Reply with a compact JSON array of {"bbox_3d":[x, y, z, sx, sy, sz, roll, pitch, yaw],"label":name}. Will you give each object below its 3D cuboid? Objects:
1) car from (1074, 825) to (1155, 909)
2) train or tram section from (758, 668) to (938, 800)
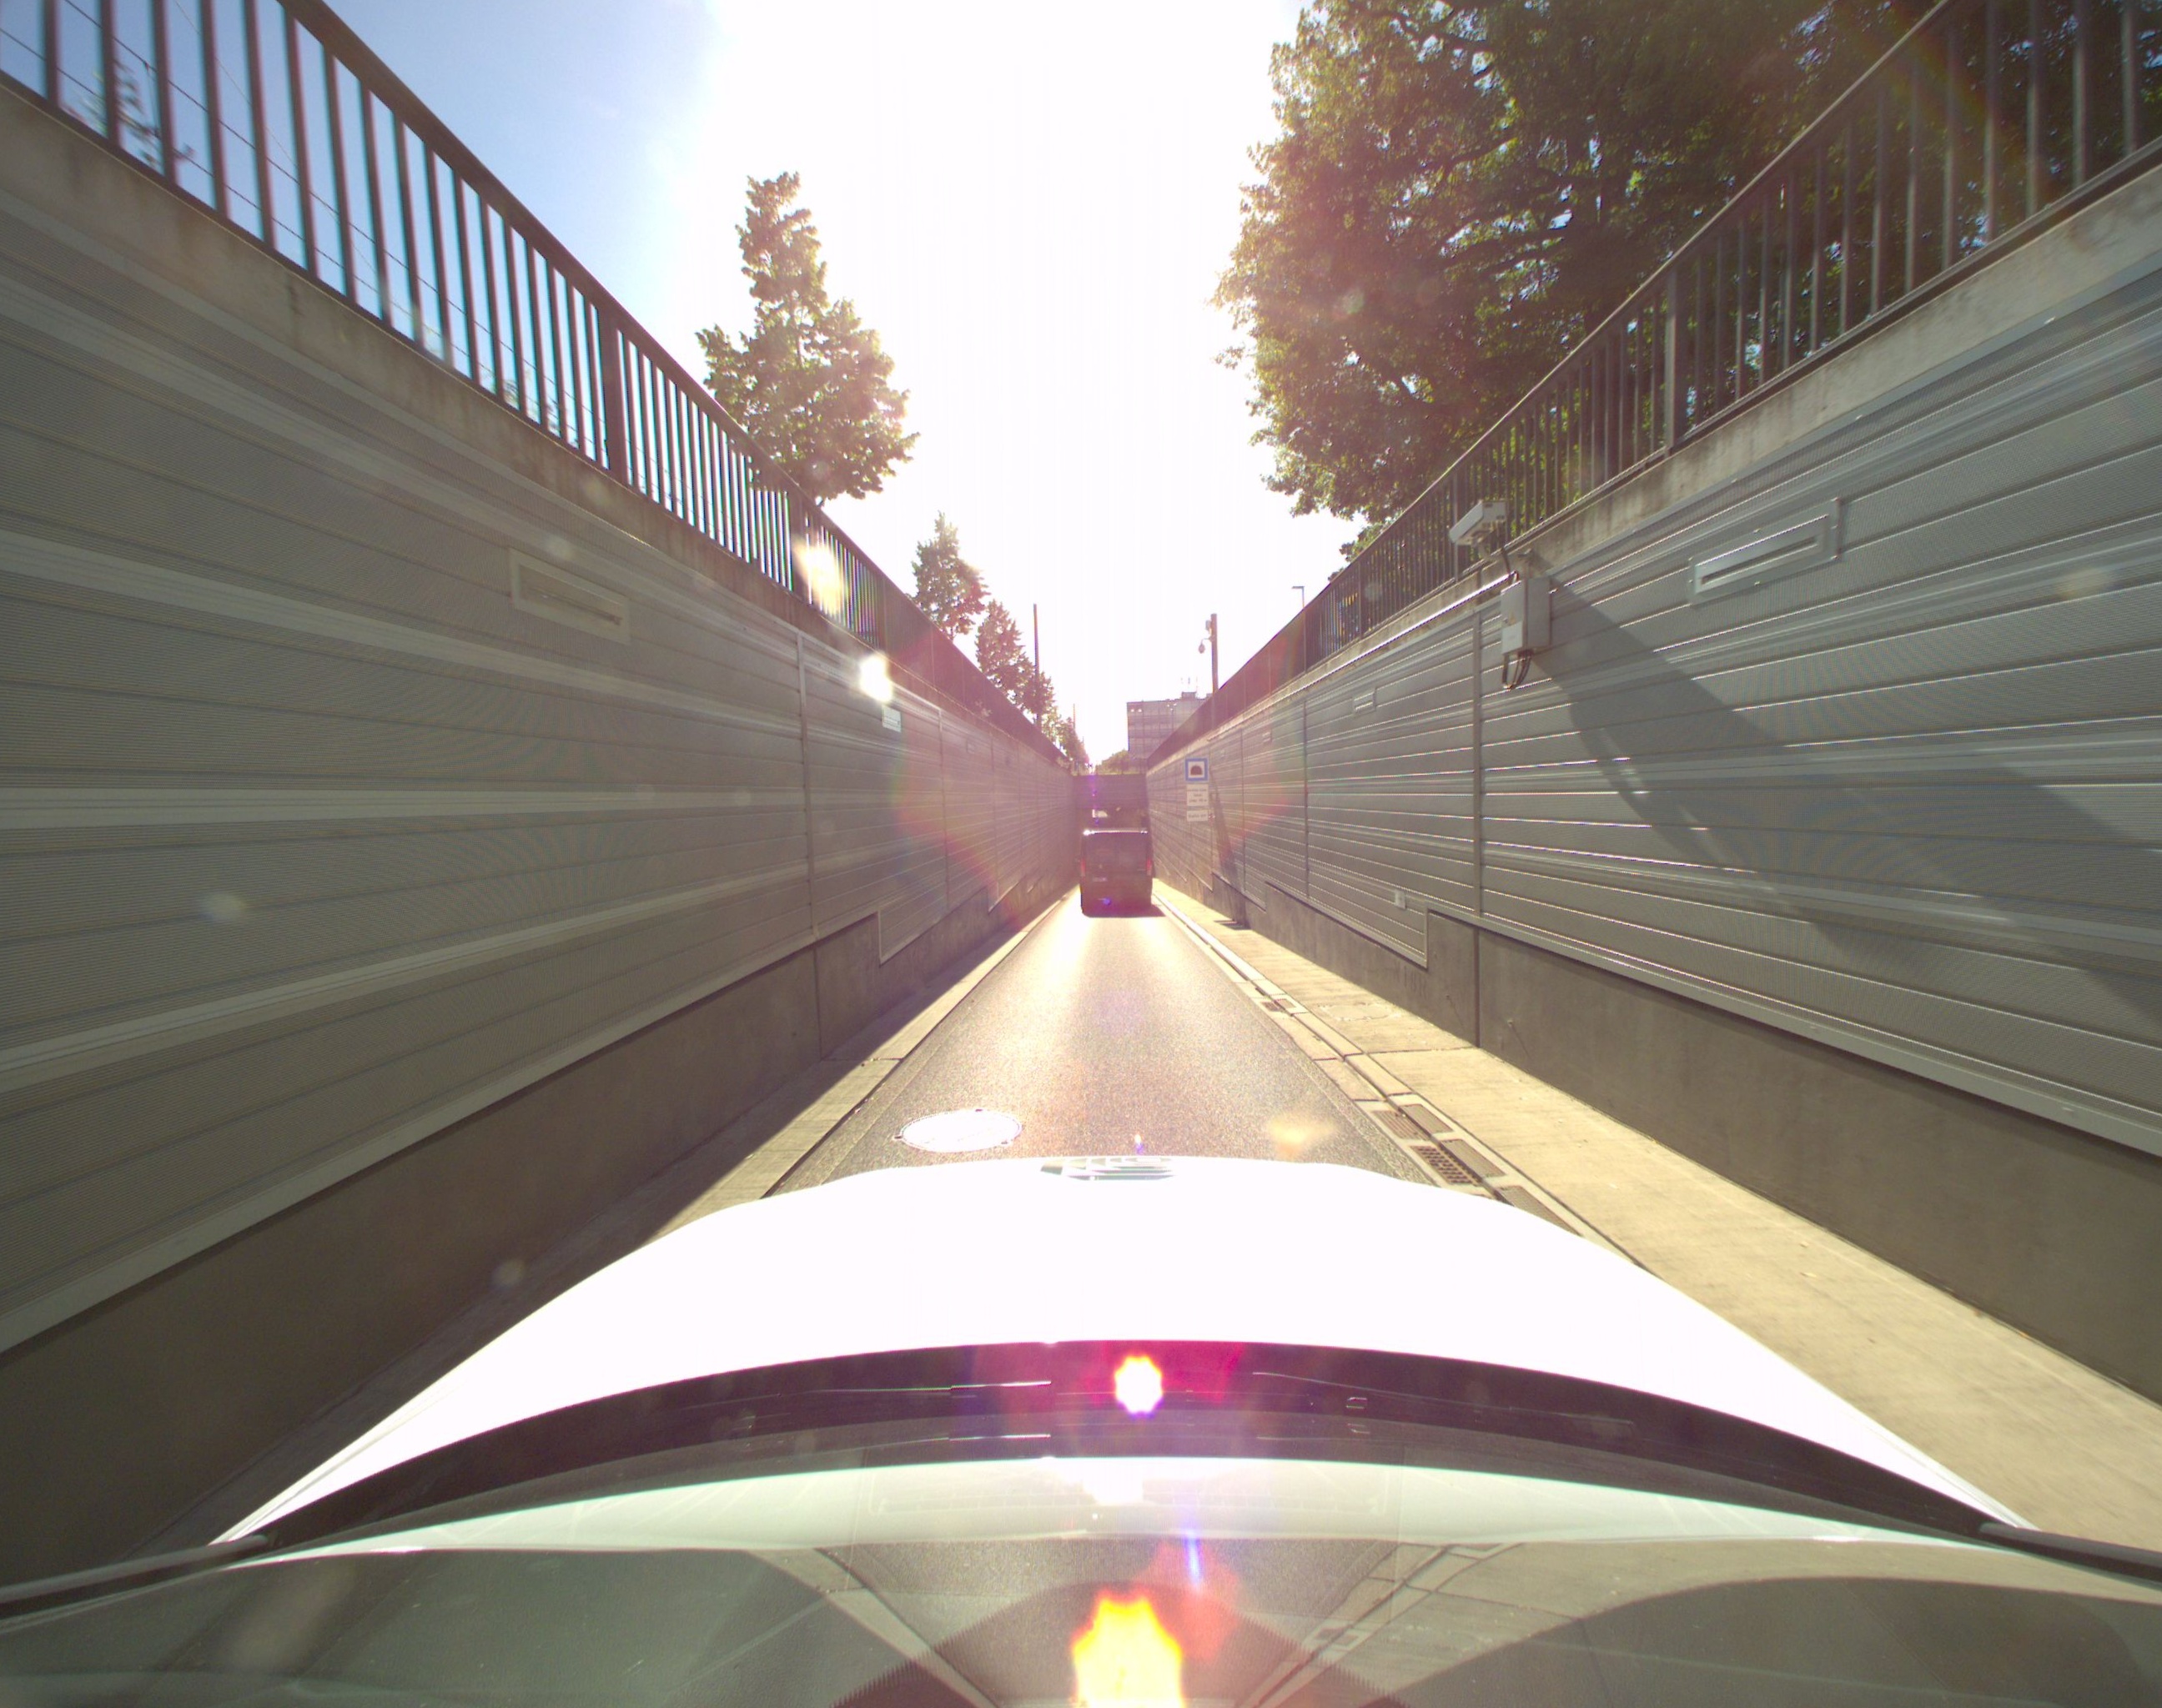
[{"bbox_3d":[1.021,0.347,24.584,2.150,2.266,4.639,-1,0,2],"label":"car"},{"bbox_3d":[-8.048,-3.996,30.703,2.601,3.819,13.100,-1,4,2],"label":"train or tram section"}]
